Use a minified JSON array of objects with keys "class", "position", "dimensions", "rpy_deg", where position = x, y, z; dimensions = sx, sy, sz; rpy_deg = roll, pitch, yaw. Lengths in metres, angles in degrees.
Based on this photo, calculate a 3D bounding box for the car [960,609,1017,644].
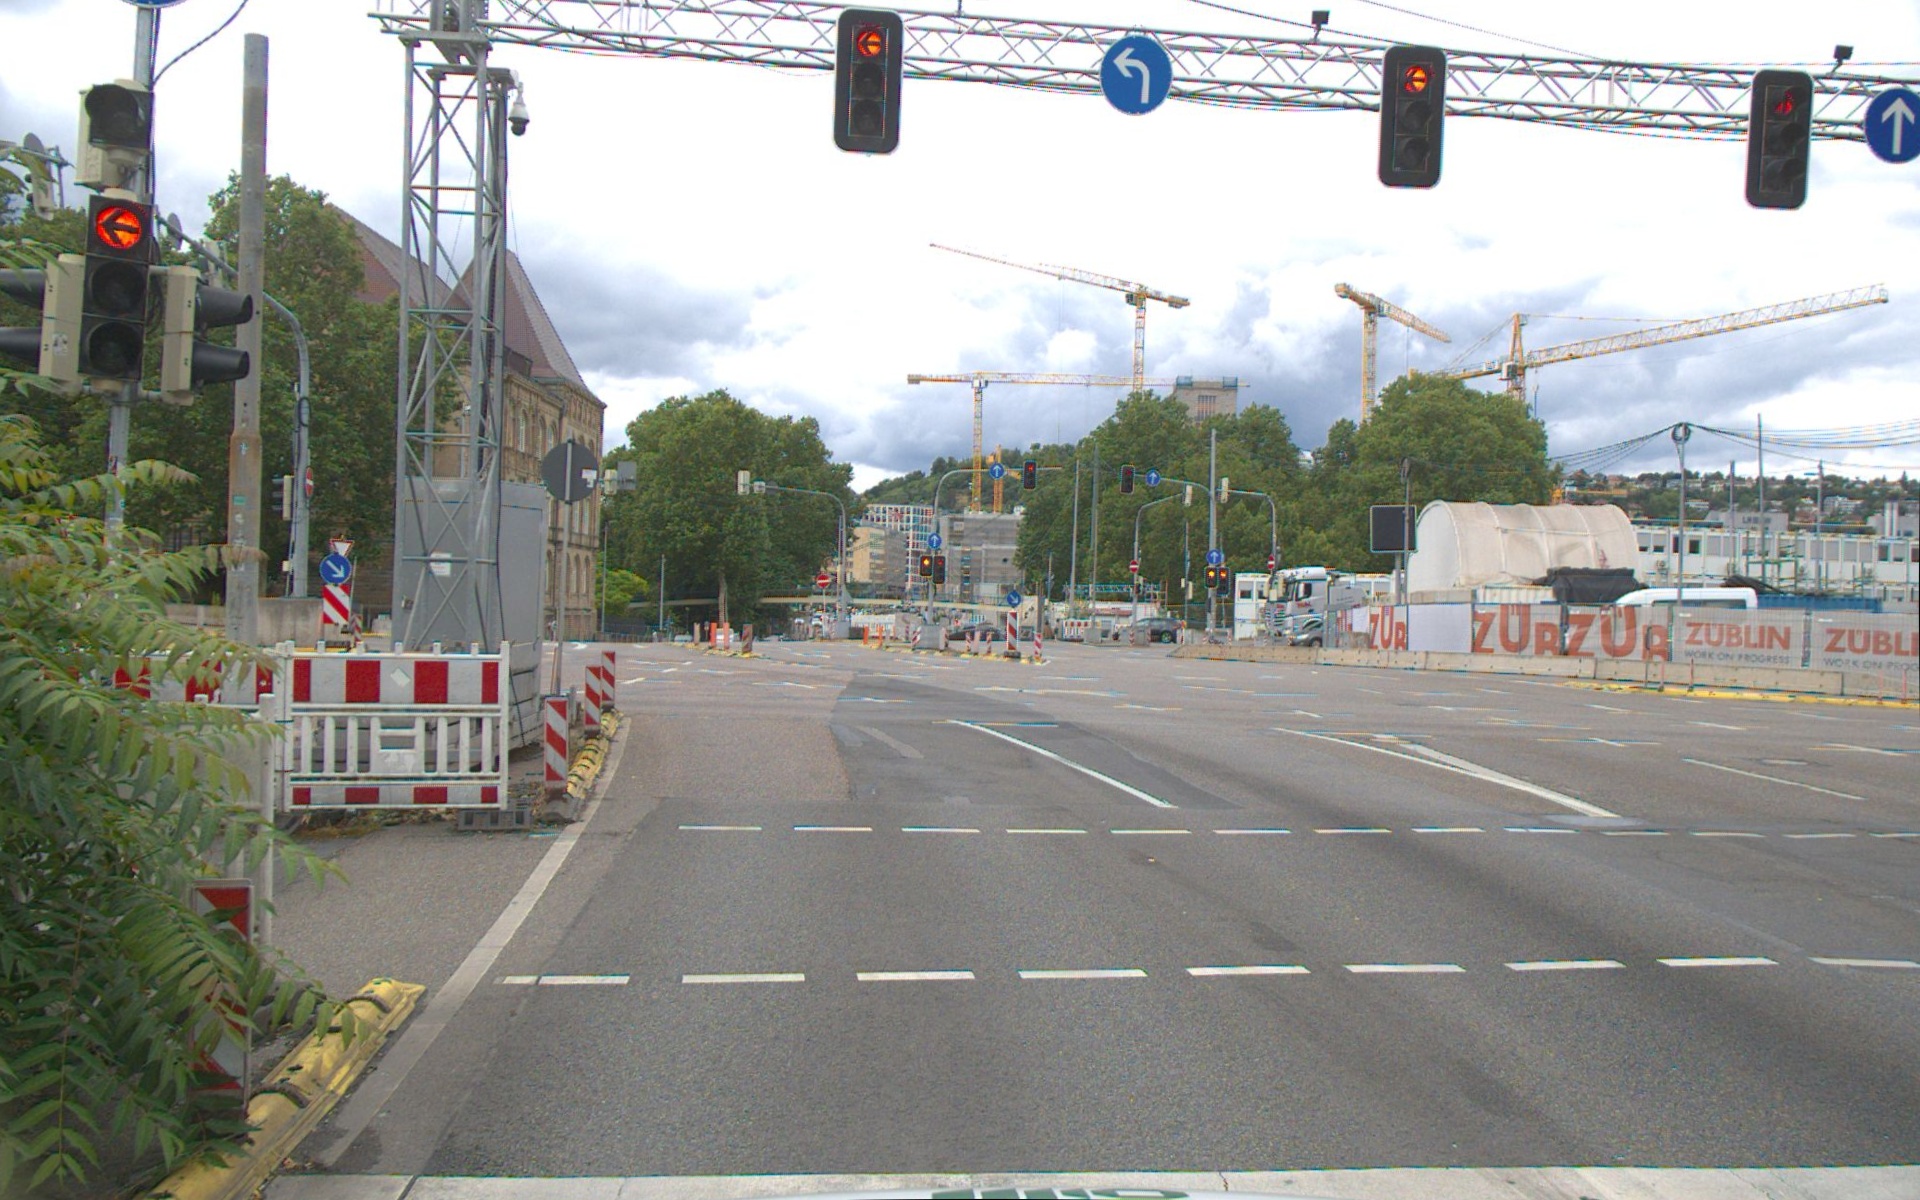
[{"class":"car","position":[1.740,1.635,103.305],"dimensions":[1.968,2.049,4.245],"rpy_deg":[1,0,-24]}]

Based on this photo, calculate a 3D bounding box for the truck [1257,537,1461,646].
[{"class":"truck","position":[19.626,-0.370,81.285],"dimensions":[9.565,5.047,3.097],"rpy_deg":[1,0,-19]}]

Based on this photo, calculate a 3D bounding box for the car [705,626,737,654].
[{"class":"car","position":[-17.150,2.868,118.841],"dimensions":[1.954,1.870,3.997],"rpy_deg":[1,0,-3]}]

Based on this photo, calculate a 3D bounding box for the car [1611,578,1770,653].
[{"class":"car","position":[21.048,0.447,47.818],"dimensions":[3.902,2.049,2.001],"rpy_deg":[1,0,15]}]

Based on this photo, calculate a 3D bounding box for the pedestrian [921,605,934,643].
[{"class":"pedestrian","position":[-1.617,1.192,81.550],"dimensions":[0.574,1.872,0.604],"rpy_deg":[1,-1,-4]}]

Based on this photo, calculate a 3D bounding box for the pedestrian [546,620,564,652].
[{"class":"pedestrian","position":[-26.218,2.323,107.042],"dimensions":[0.930,2.049,0.766],"rpy_deg":[1,-1,1]}]

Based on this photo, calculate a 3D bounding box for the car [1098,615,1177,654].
[{"class":"car","position":[9.859,1.917,91.870],"dimensions":[3.913,2.049,1.996],"rpy_deg":[1,0,30]}]
